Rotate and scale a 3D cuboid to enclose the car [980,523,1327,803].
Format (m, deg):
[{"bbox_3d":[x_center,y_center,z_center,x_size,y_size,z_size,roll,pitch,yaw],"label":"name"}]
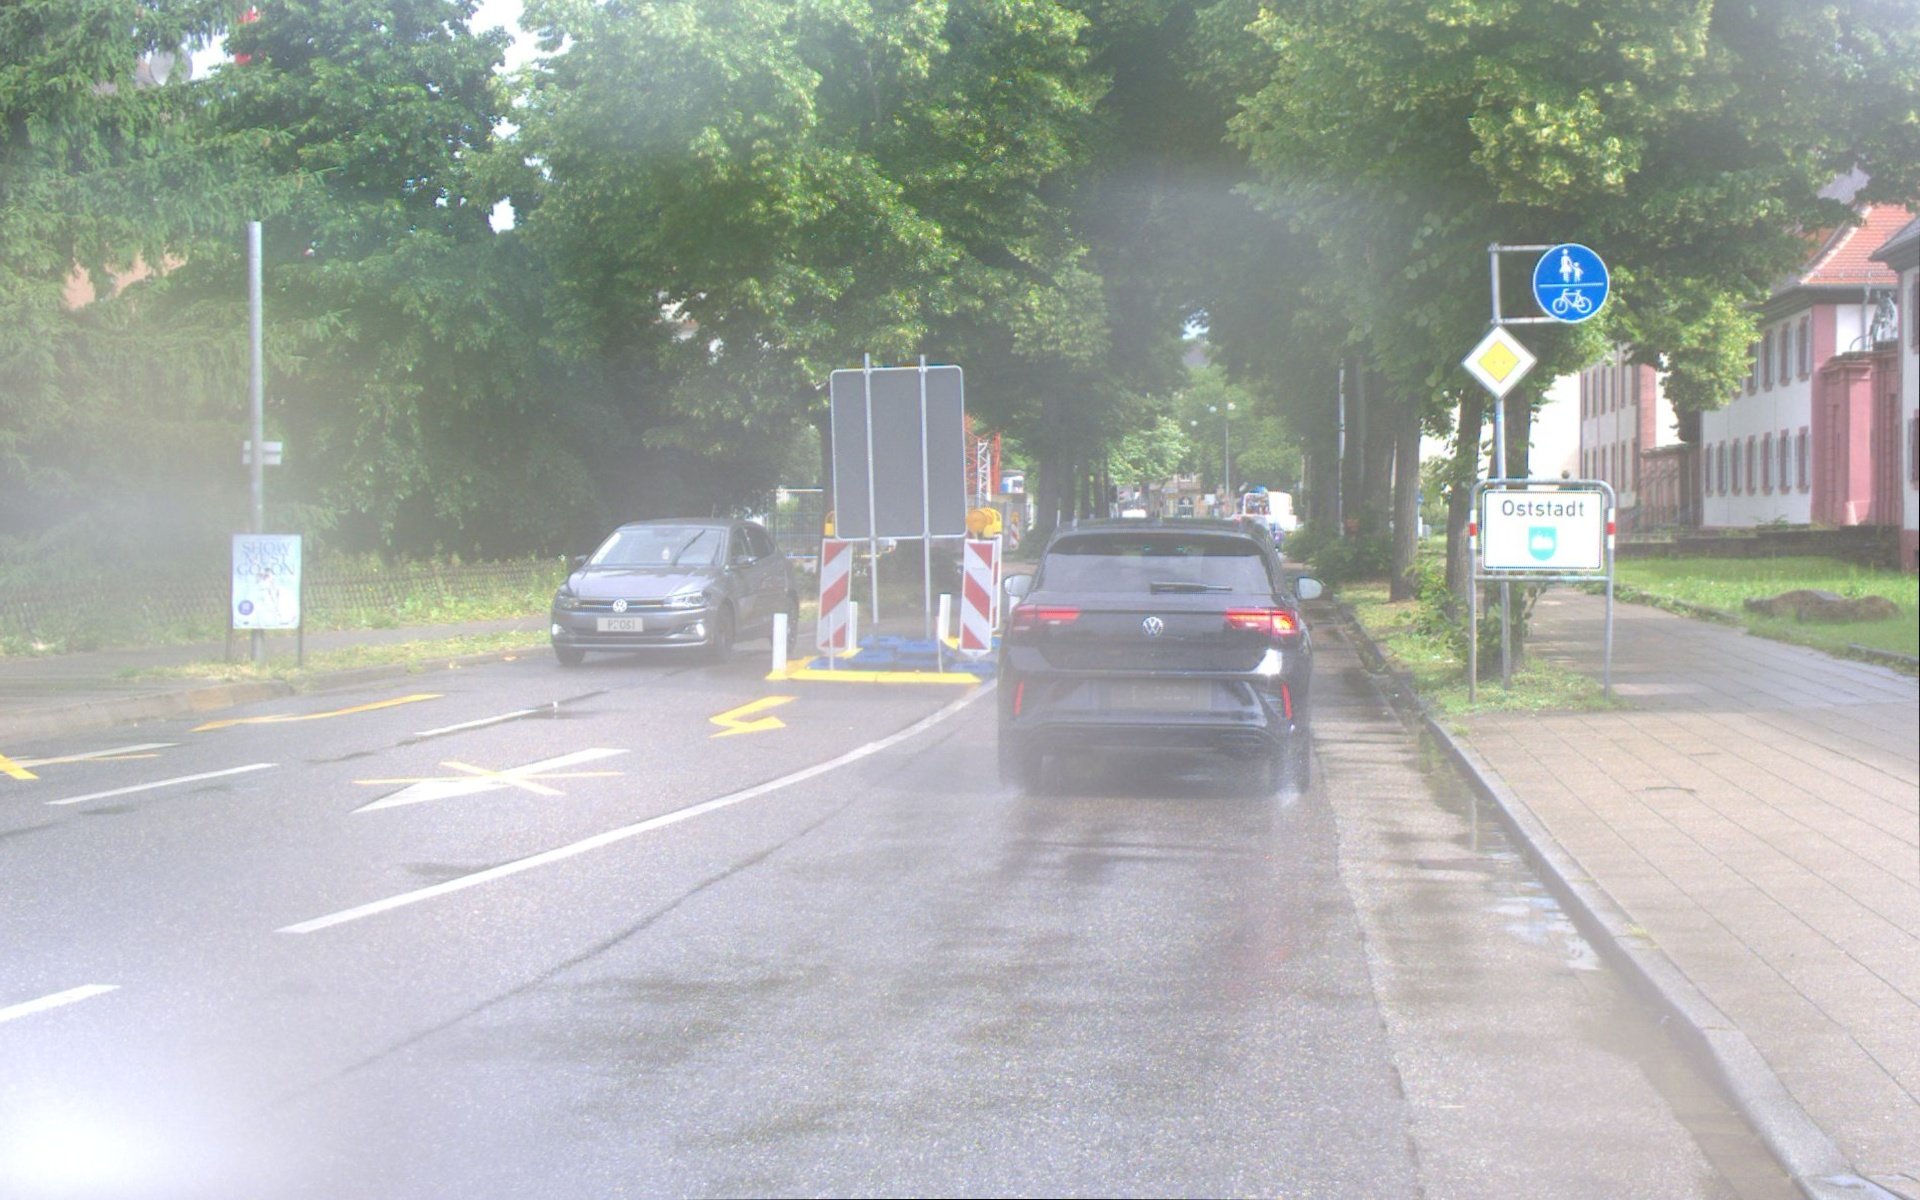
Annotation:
[{"bbox_3d":[1.214,0.299,20.901,1.895,1.517,4.000,1,1,4],"label":"car"}]

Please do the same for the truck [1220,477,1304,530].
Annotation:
[{"bbox_3d":[15.511,-5.002,177.262,2.804,2.647,8.243,0,2,-6],"label":"truck"}]

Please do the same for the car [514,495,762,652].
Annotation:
[{"bbox_3d":[-3.223,-0.309,35.076,1.680,1.503,3.792,0,2,8],"label":"car"}]

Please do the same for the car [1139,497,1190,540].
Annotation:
[{"bbox_3d":[8.339,-3.329,139.947,1.887,1.707,4.229,-1,2,6],"label":"car"}]
